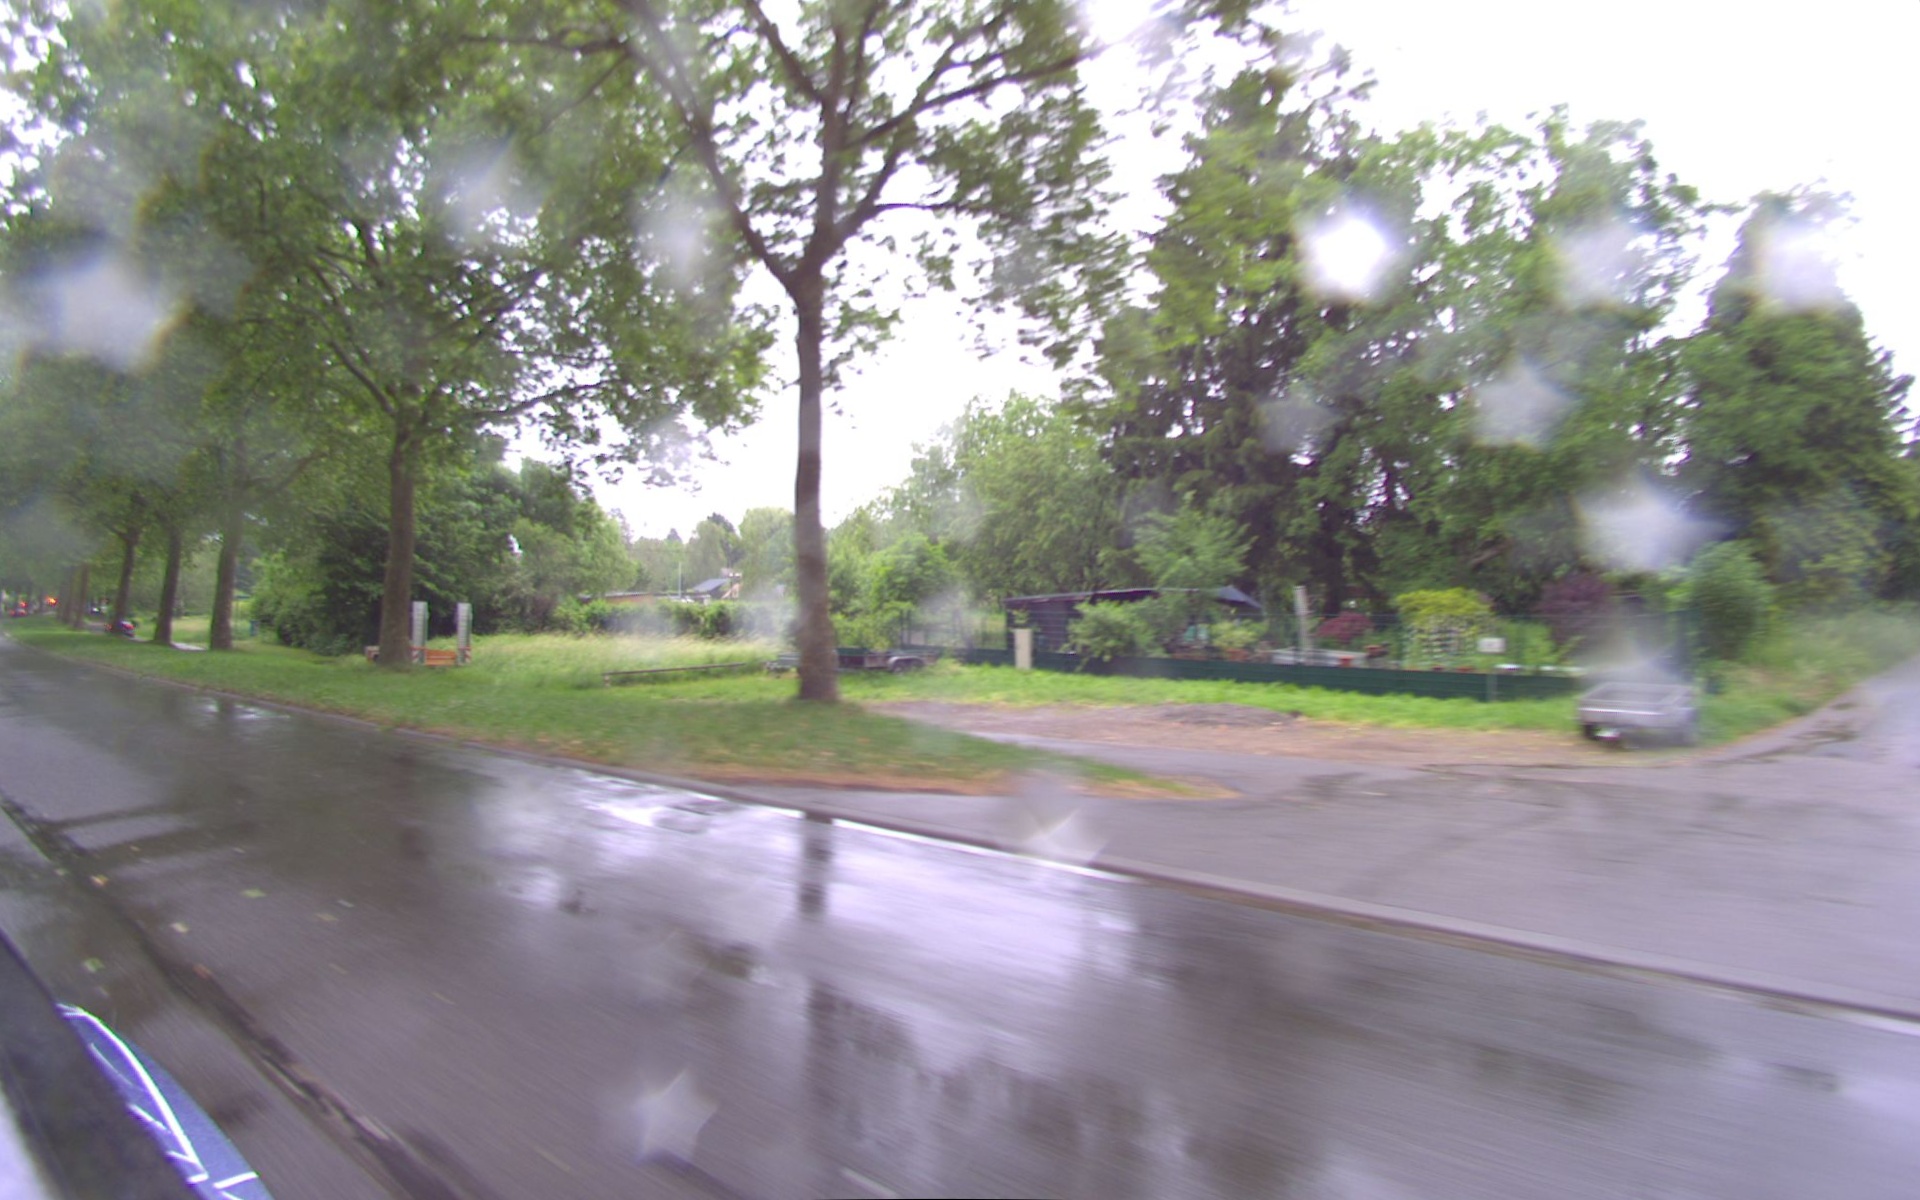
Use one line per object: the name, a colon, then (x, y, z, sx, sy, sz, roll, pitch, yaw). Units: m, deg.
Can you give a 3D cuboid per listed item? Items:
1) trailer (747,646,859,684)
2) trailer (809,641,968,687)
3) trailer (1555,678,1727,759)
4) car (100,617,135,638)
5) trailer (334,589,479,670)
trailer: (-4.895, 2.004, 31.670, 1.768, 0.952, 3.042, 0, 0, 42)
trailer: (-2.055, 1.834, 29.947, 2.381, 1.040, 4.272, 0, 0, 41)
trailer: (10.490, 1.750, 15.517, 1.679, 0.844, 2.995, 0, 0, 44)
car: (-72.762, 2.347, 87.464, 1.868, 1.695, 4.011, 0, 0, -34)
trailer: (-20.215, 0.977, 36.805, 6.654, 2.684, 2.767, 0, 0, 44)
